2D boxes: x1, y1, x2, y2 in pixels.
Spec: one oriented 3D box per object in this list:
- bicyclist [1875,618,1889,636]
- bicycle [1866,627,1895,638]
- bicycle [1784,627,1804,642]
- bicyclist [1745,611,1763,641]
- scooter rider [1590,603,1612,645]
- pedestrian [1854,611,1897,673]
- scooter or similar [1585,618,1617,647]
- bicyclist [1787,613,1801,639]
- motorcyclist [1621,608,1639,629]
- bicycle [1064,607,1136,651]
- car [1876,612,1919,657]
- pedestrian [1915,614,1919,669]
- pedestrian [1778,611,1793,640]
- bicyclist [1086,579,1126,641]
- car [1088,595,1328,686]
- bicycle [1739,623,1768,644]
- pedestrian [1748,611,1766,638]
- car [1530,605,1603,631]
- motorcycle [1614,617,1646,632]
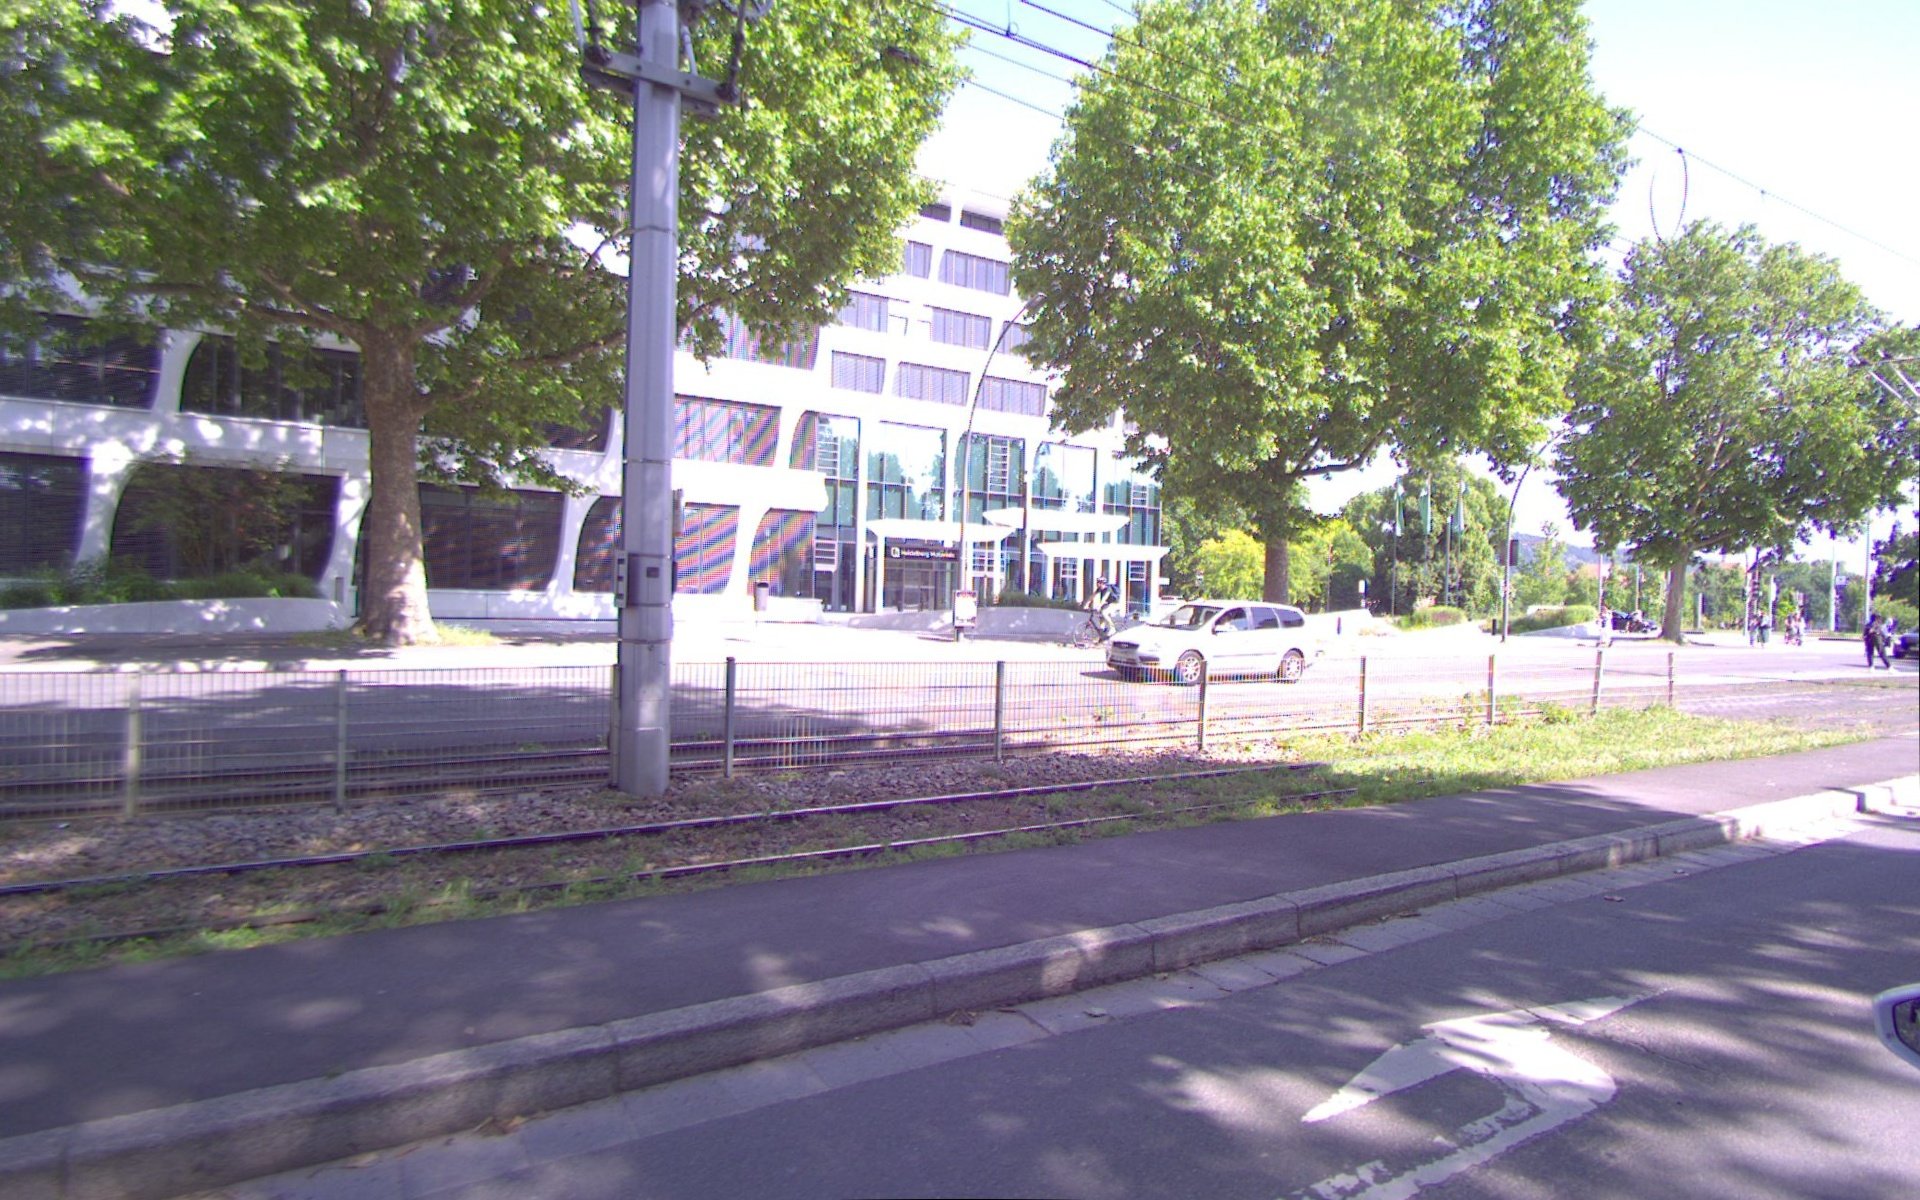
[{"bbox_3d":[66.132,1.936,72.050,0.487,1.309,0.475,2,1,-1],"label":"bicyclist"},{"bbox_3d":[66.030,2.342,72.058,1.590,0.741,0.493,2,1,-1],"label":"bicycle"},{"bbox_3d":[43.423,1.796,52.287,1.132,0.758,0.418,1,1,-30],"label":"bicycle"},{"bbox_3d":[37.944,1.242,48.009,0.585,1.435,0.477,1,1,-31],"label":"bicyclist"},{"bbox_3d":[25.699,0.972,40.255,0.559,1.653,0.504,1,1,-30],"label":"scooter rider"},{"bbox_3d":[25.255,1.140,27.728,0.747,1.645,0.593,2,1,35],"label":"pedestrian"},{"bbox_3d":[25.704,1.298,40.268,1.233,1.127,0.545,1,1,-30],"label":"scooter or similar"},{"bbox_3d":[43.407,1.357,52.273,0.460,1.329,0.383,1,1,-30],"label":"bicyclist"},{"bbox_3d":[43.633,1.234,65.433,0.597,1.332,0.749,1,1,-30],"label":"motorcyclist"},{"bbox_3d":[3.728,0.760,26.693,1.861,1.109,0.664,1,1,-30],"label":"bicycle"},{"bbox_3d":[37.144,1.344,38.523,3.953,1.630,1.862,1,1,-30],"label":"car"},{"bbox_3d":[29.868,1.289,30.843,0.548,1.669,0.590,1,1,-30],"label":"pedestrian"},{"bbox_3d":[46.430,1.417,56.482,0.615,1.562,0.778,2,1,41],"label":"pedestrian"},{"bbox_3d":[3.889,0.259,26.786,0.828,1.625,0.572,1,1,-30],"label":"bicyclist"},{"bbox_3d":[4.688,0.718,18.849,4.333,1.508,1.788,1,1,-30],"label":"car"},{"bbox_3d":[37.965,1.592,48.050,1.635,0.974,0.482,1,1,-30],"label":"bicycle"},{"bbox_3d":[45.948,1.403,57.921,0.637,1.562,0.619,1,1,-31],"label":"pedestrian"},{"bbox_3d":[40.725,1.169,67.544,1.748,1.569,3.830,1,1,-29],"label":"car"},{"bbox_3d":[43.628,1.592,65.432,0.642,0.903,1.636,1,1,-29],"label":"motorcycle"}]
